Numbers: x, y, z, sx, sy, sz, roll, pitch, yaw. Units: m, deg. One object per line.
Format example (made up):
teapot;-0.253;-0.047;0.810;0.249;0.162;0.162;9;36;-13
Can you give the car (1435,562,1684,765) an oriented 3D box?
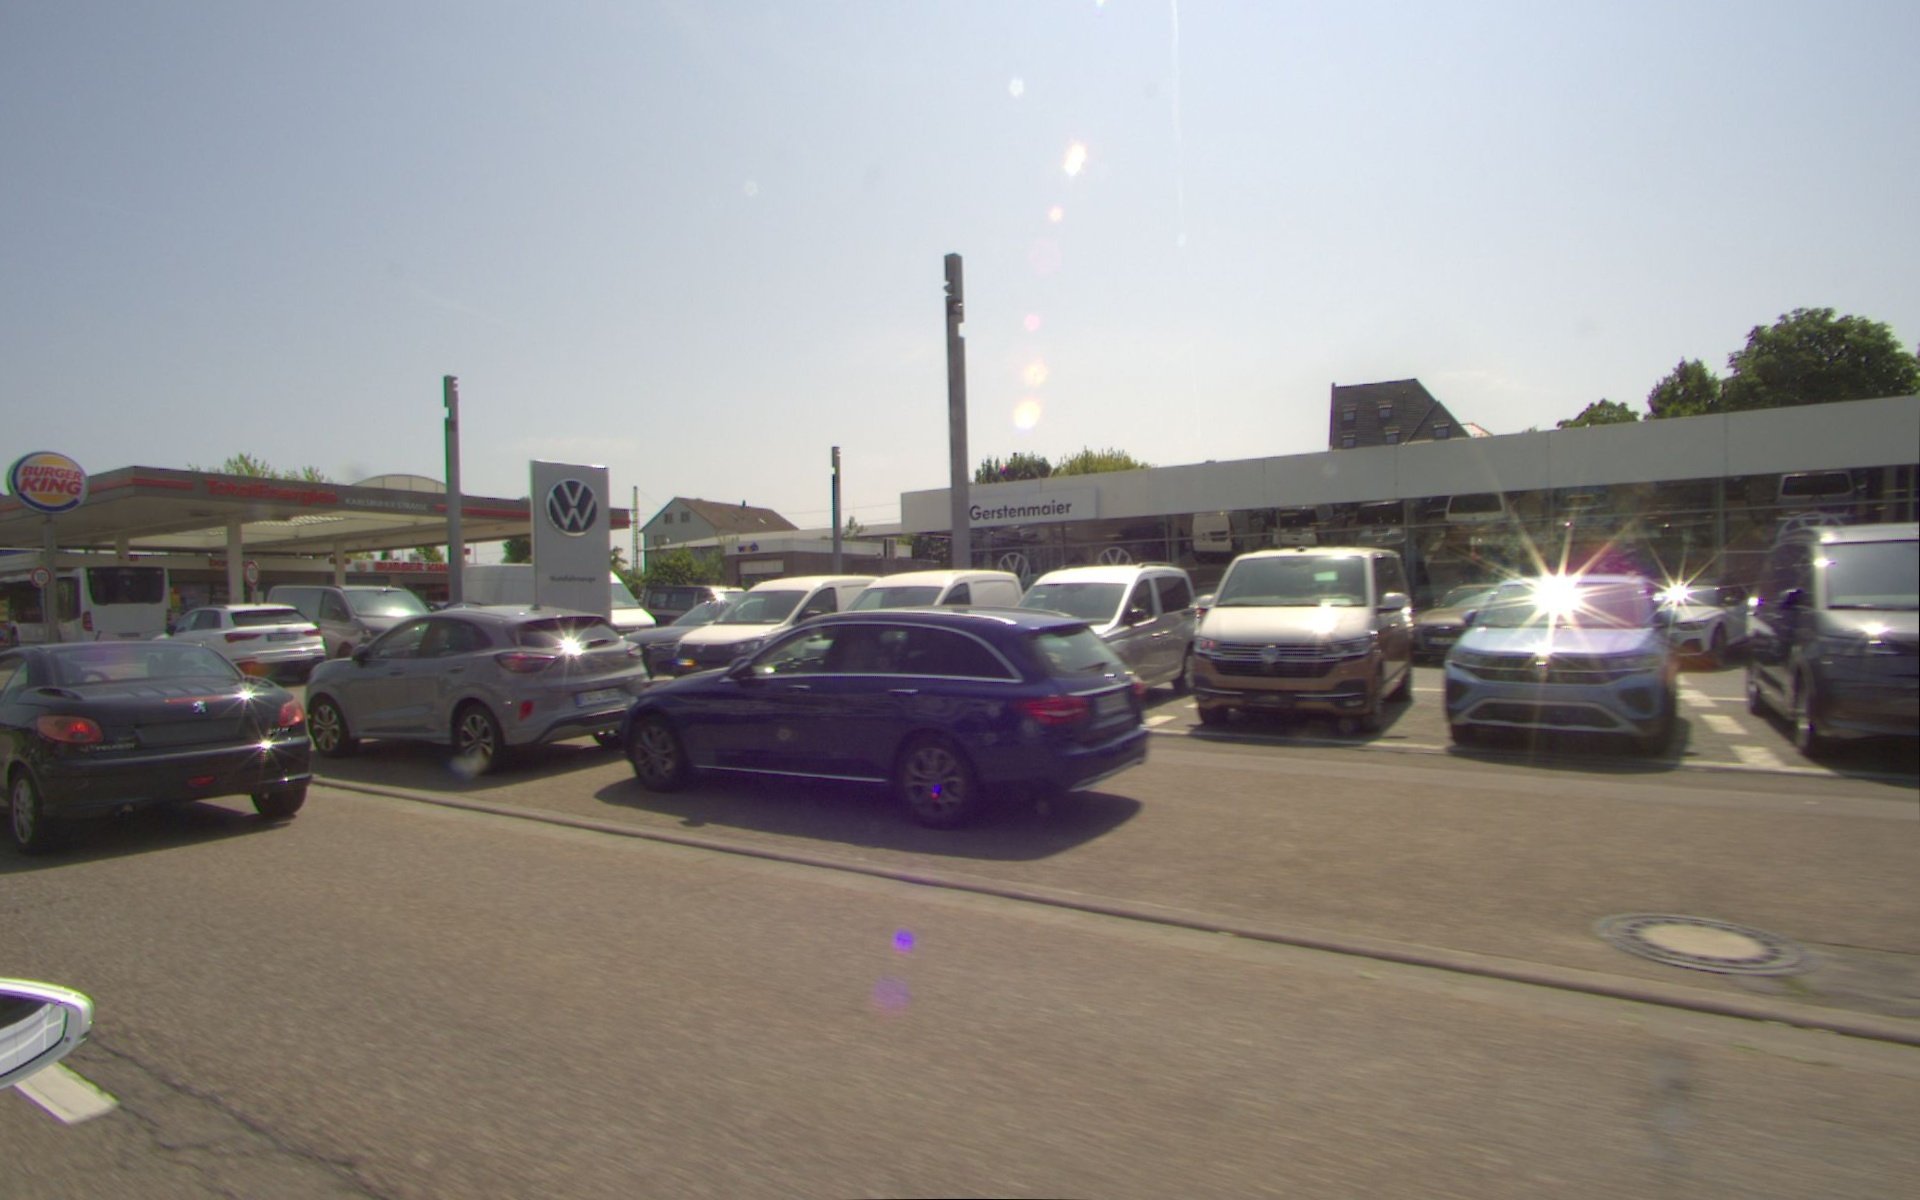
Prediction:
car;5.992;0.526;9.822;1.695;1.591;3.617;-1;-1;37

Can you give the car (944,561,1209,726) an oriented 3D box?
car;1.708;0.469;13.173;1.855;1.804;4.141;-3;0;31

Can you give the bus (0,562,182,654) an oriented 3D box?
bus;-34.116;0.283;38.996;12.121;3.120;2.795;0;0;36

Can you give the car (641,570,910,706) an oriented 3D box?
car;-2.838;0.528;16.435;1.881;1.907;4.404;-1;0;31

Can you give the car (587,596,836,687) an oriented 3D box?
car;-4.588;0.702;19.195;1.971;1.465;4.523;-1;1;32

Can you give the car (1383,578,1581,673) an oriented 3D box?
car;9.815;0.392;18.697;4.314;1.498;1.850;-3;2;-41

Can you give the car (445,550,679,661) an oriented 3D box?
car;-10.911;0.162;27.207;6.918;2.711;2.250;-1;1;33

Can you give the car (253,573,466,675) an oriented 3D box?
car;-13.500;0.568;22.431;5.086;2.049;1.990;-1;-2;32

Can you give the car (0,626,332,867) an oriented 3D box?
car;-6.652;0.952;7.767;3.609;1.444;1.597;-1;0;32

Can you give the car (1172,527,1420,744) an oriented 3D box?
car;4.187;0.276;11.898;1.931;2.041;4.631;0;2;30

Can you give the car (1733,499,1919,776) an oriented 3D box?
car;8.580;0.306;9.085;1.975;2.010;4.777;1;0;32

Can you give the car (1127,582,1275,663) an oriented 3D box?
car;5.333;0.437;21.832;1.834;1.592;3.975;-1;0;34

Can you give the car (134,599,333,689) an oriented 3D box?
car;-14.858;0.840;20.409;4.546;1.617;1.663;-1;1;32

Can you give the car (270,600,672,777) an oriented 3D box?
car;-5.234;0.828;10.649;4.114;1.573;1.731;-1;0;27

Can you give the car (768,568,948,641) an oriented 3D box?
car;-4.016;0.195;38.472;6.972;2.590;2.250;-1;1;33

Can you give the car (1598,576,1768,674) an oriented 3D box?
car;12.610;0.366;17.410;3.531;1.467;1.660;-3;2;-41

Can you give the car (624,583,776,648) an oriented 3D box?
car;-8.223;0.423;31.582;4.725;1.891;1.731;1;2;27

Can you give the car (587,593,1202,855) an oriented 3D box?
car;-0.653;0.815;7.983;4.720;1.569;1.710;-2;0;30

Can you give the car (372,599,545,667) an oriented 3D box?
car;-12.437;0.806;24.774;4.534;1.533;1.740;-1;-2;32

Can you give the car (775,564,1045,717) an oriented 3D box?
car;-0.542;0.488;14.952;1.830;1.913;4.547;0;1;31
